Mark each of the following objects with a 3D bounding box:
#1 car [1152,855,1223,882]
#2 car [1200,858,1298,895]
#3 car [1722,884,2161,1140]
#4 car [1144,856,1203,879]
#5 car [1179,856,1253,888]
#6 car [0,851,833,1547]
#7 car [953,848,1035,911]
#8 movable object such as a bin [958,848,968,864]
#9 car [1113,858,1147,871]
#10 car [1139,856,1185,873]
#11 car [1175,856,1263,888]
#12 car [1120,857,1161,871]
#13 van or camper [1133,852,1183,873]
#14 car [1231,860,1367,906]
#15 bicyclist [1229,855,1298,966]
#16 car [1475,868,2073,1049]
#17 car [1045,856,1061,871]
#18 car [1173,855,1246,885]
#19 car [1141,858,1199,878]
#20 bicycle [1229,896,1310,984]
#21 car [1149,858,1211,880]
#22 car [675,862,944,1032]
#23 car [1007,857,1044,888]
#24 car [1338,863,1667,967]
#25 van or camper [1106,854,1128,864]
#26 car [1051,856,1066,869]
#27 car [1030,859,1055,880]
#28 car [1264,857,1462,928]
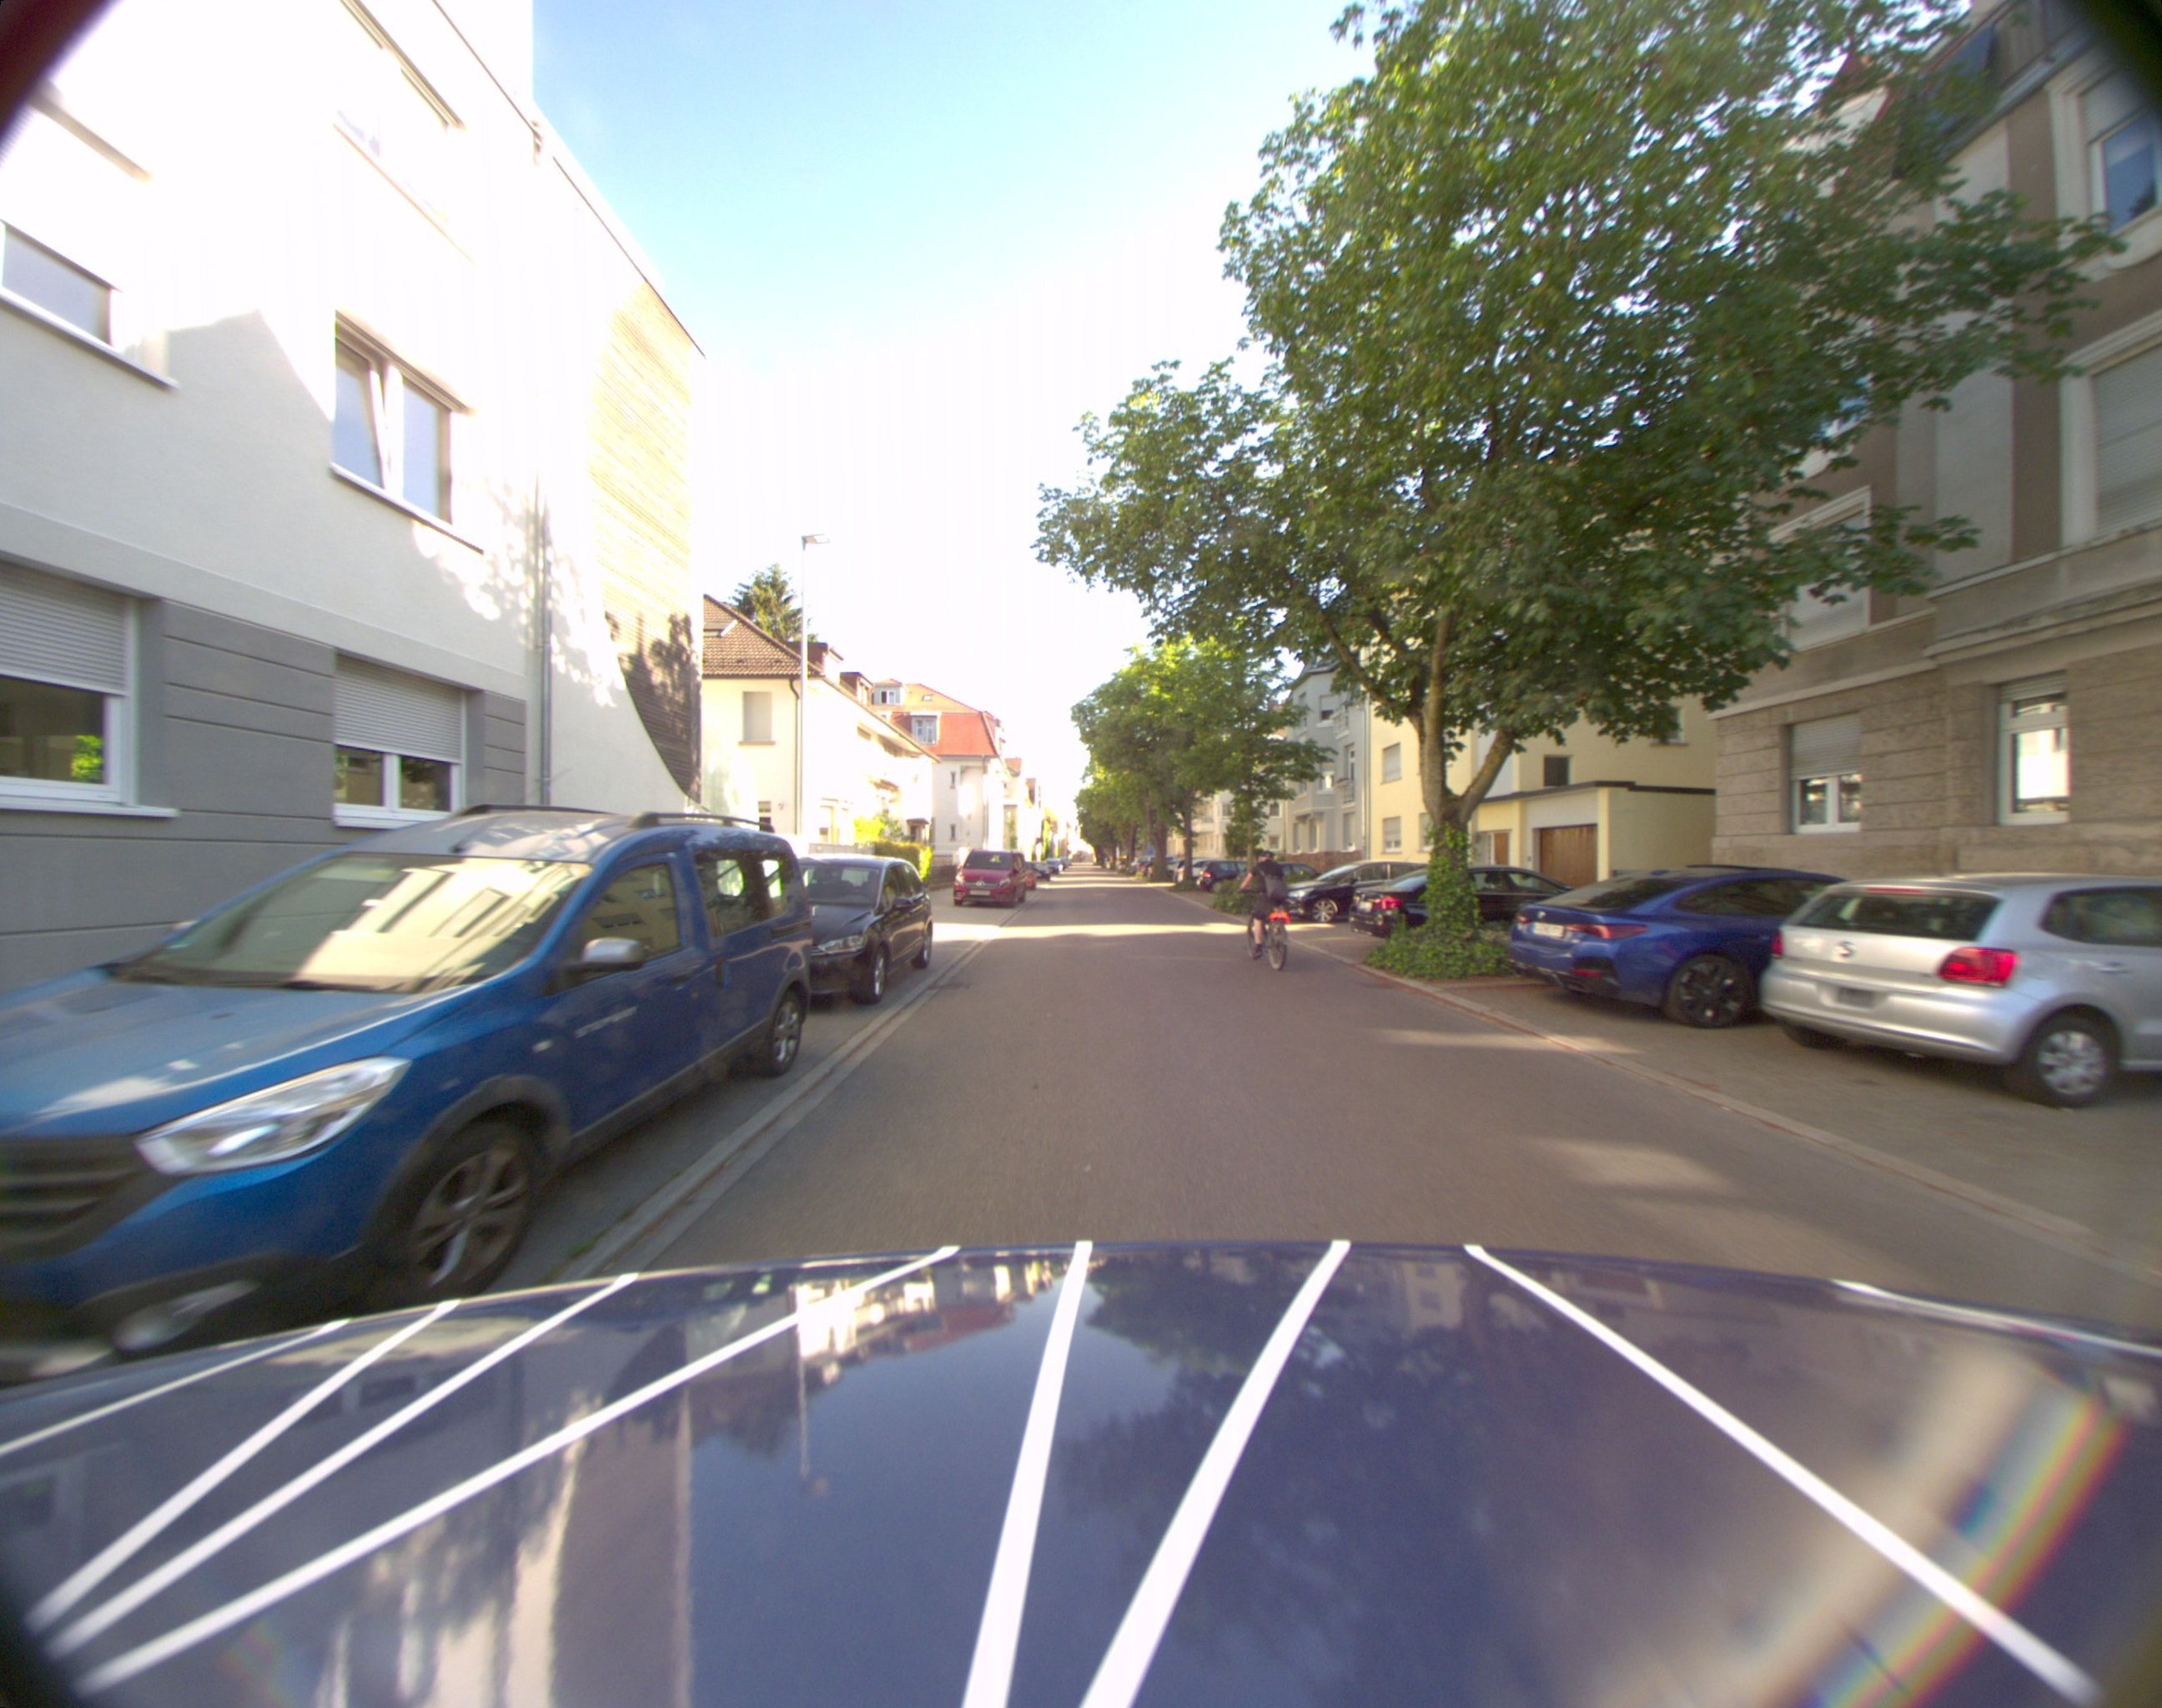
[{"bbox_3d":[6.892,0.926,49.469,4.397,1.642,1.823,1,0,1],"label":"car"},{"bbox_3d":[7.320,0.965,33.352,4.030,1.436,1.800,-2,1,7],"label":"car"},{"bbox_3d":[7.097,0.980,5.449,3.589,1.422,1.730,-1,0,-2],"label":"car"},{"bbox_3d":[6.710,0.986,55.277,3.998,1.583,1.878,0,0,-2],"label":"car"},{"bbox_3d":[7.164,0.923,40.429,3.525,1.566,1.770,-1,0,-5],"label":"car"},{"bbox_3d":[-2.847,0.791,3.863,1.686,1.427,4.265,4,1,0],"label":"car"},{"bbox_3d":[-2.847,0.761,26.127,1.875,1.894,5.198,1,1,4],"label":"car"},{"bbox_3d":[-8.027,0.119,51.802,0.557,1.056,0.696,-2,1,-3],"label":"movable object such as a bin"},{"bbox_3d":[6.064,1.299,94.507,3.883,1.505,1.831,-3,1,-9],"label":"car"},{"bbox_3d":[7.193,0.928,67.768,3.955,1.489,1.662,-1,0,2],"label":"car"},{"bbox_3d":[6.882,0.886,38.095,4.033,1.476,1.807,-2,0,-1],"label":"car"},{"bbox_3d":[7.056,1.183,90.618,4.602,1.597,1.832,1,0,-3],"label":"car"},{"bbox_3d":[7.092,0.786,70.337,4.508,1.903,1.964,0,0,0],"label":"van or camper"},{"bbox_3d":[7.223,0.957,25.464,3.997,1.413,1.771,-1,-1,-1],"label":"car"},{"bbox_3d":[2.634,0.784,11.068,0.723,1.528,1.137,1,0,0],"label":"bicyclist"},{"bbox_3d":[6.759,0.952,7.787,4.486,1.470,1.868,-1,1,-2],"label":"car"},{"bbox_3d":[-3.004,1.002,81.259,1.667,1.511,3.999,1,1,-3],"label":"car"},{"bbox_3d":[7.304,0.911,43.424,3.872,1.566,1.848,-1,0,3],"label":"car"},{"bbox_3d":[6.828,1.070,58.328,4.198,1.490,1.861,0,0,-1],"label":"car"},{"bbox_3d":[2.702,1.198,11.107,0.721,1.072,1.891,1,0,1],"label":"bicycle"},{"bbox_3d":[6.746,1.027,51.898,3.997,1.460,1.697,0,0,-1],"label":"car"},{"bbox_3d":[-2.967,0.908,9.340,1.741,1.522,4.178,3,0,0],"label":"car"},{"bbox_3d":[-2.836,0.941,39.284,1.596,1.472,3.247,2,0,0],"label":"car"},{"bbox_3d":[6.874,0.958,12.721,4.486,1.470,1.868,-1,1,-2],"label":"car"},{"bbox_3d":[6.604,0.892,141.186,3.954,1.762,1.809,0,-1,-1],"label":"van or camper"},{"bbox_3d":[-2.784,1.040,93.347,1.713,1.428,4.192,2,1,0],"label":"car"},{"bbox_3d":[-2.755,1.103,55.183,1.624,1.431,3.934,3,0,-2],"label":"car"},{"bbox_3d":[6.988,0.905,19.069,4.185,1.491,1.998,-2,1,-6],"label":"car"}]
